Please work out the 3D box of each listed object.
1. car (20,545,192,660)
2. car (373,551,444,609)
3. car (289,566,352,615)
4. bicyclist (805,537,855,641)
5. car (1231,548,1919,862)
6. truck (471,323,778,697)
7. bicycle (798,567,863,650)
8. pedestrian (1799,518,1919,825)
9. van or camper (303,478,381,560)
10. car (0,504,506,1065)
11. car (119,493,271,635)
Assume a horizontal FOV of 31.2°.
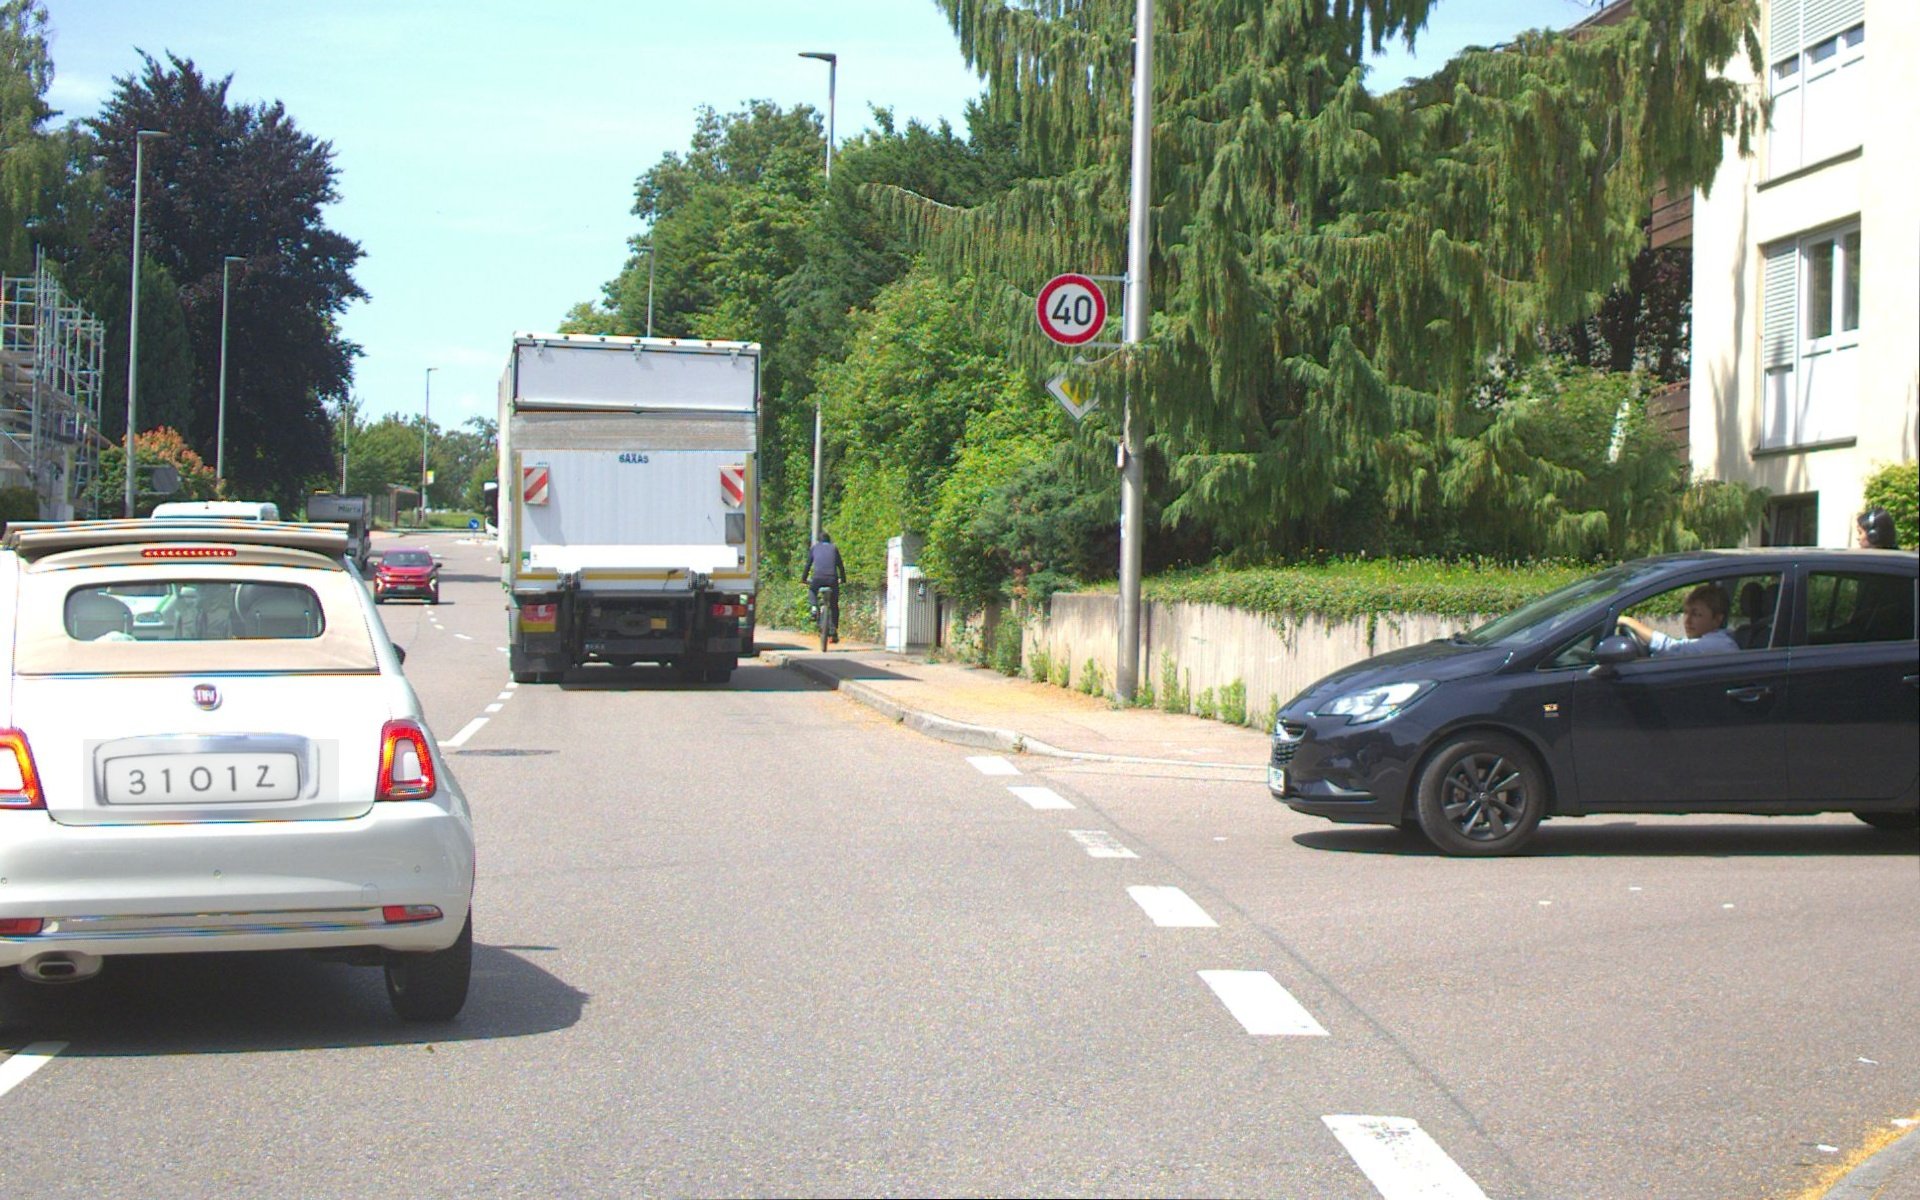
[{"bbox_3d":[-11.056,0.003,44.724,1.804,1.393,4.001,1,1,-9],"label":"car"},{"bbox_3d":[-15.660,-0.582,97.800,1.833,1.529,4.001,2,0,-8],"label":"car"},{"bbox_3d":[-20.028,-0.309,107.716,1.477,1.489,3.080,1,1,-2],"label":"car"},{"bbox_3d":[-1.812,-0.155,47.789,0.588,1.408,0.742,2,1,-7],"label":"bicyclist"},{"bbox_3d":[3.417,0.490,17.063,3.933,1.453,1.659,1,1,-3],"label":"car"},{"bbox_3d":[-3.939,-0.955,38.823,3.068,3.761,7.870,1,1,-8],"label":"truck"},{"bbox_3d":[-1.819,0.107,47.842,0.668,1.100,2.426,2,1,-7],"label":"bicycle"},{"bbox_3d":[5.078,0.385,19.170,0.697,1.666,0.569,2,1,17],"label":"pedestrian"},{"bbox_3d":[-23.467,-3.062,130.727,2.264,2.952,5.889,2,1,-5],"label":"van or camper"},{"bbox_3d":[-2.785,0.482,11.594,1.724,1.555,4.001,-1,1,-19],"label":"car"},{"bbox_3d":[-12.528,-0.607,56.591,2.036,2.192,5.584,1,1,-9],"label":"car"}]
